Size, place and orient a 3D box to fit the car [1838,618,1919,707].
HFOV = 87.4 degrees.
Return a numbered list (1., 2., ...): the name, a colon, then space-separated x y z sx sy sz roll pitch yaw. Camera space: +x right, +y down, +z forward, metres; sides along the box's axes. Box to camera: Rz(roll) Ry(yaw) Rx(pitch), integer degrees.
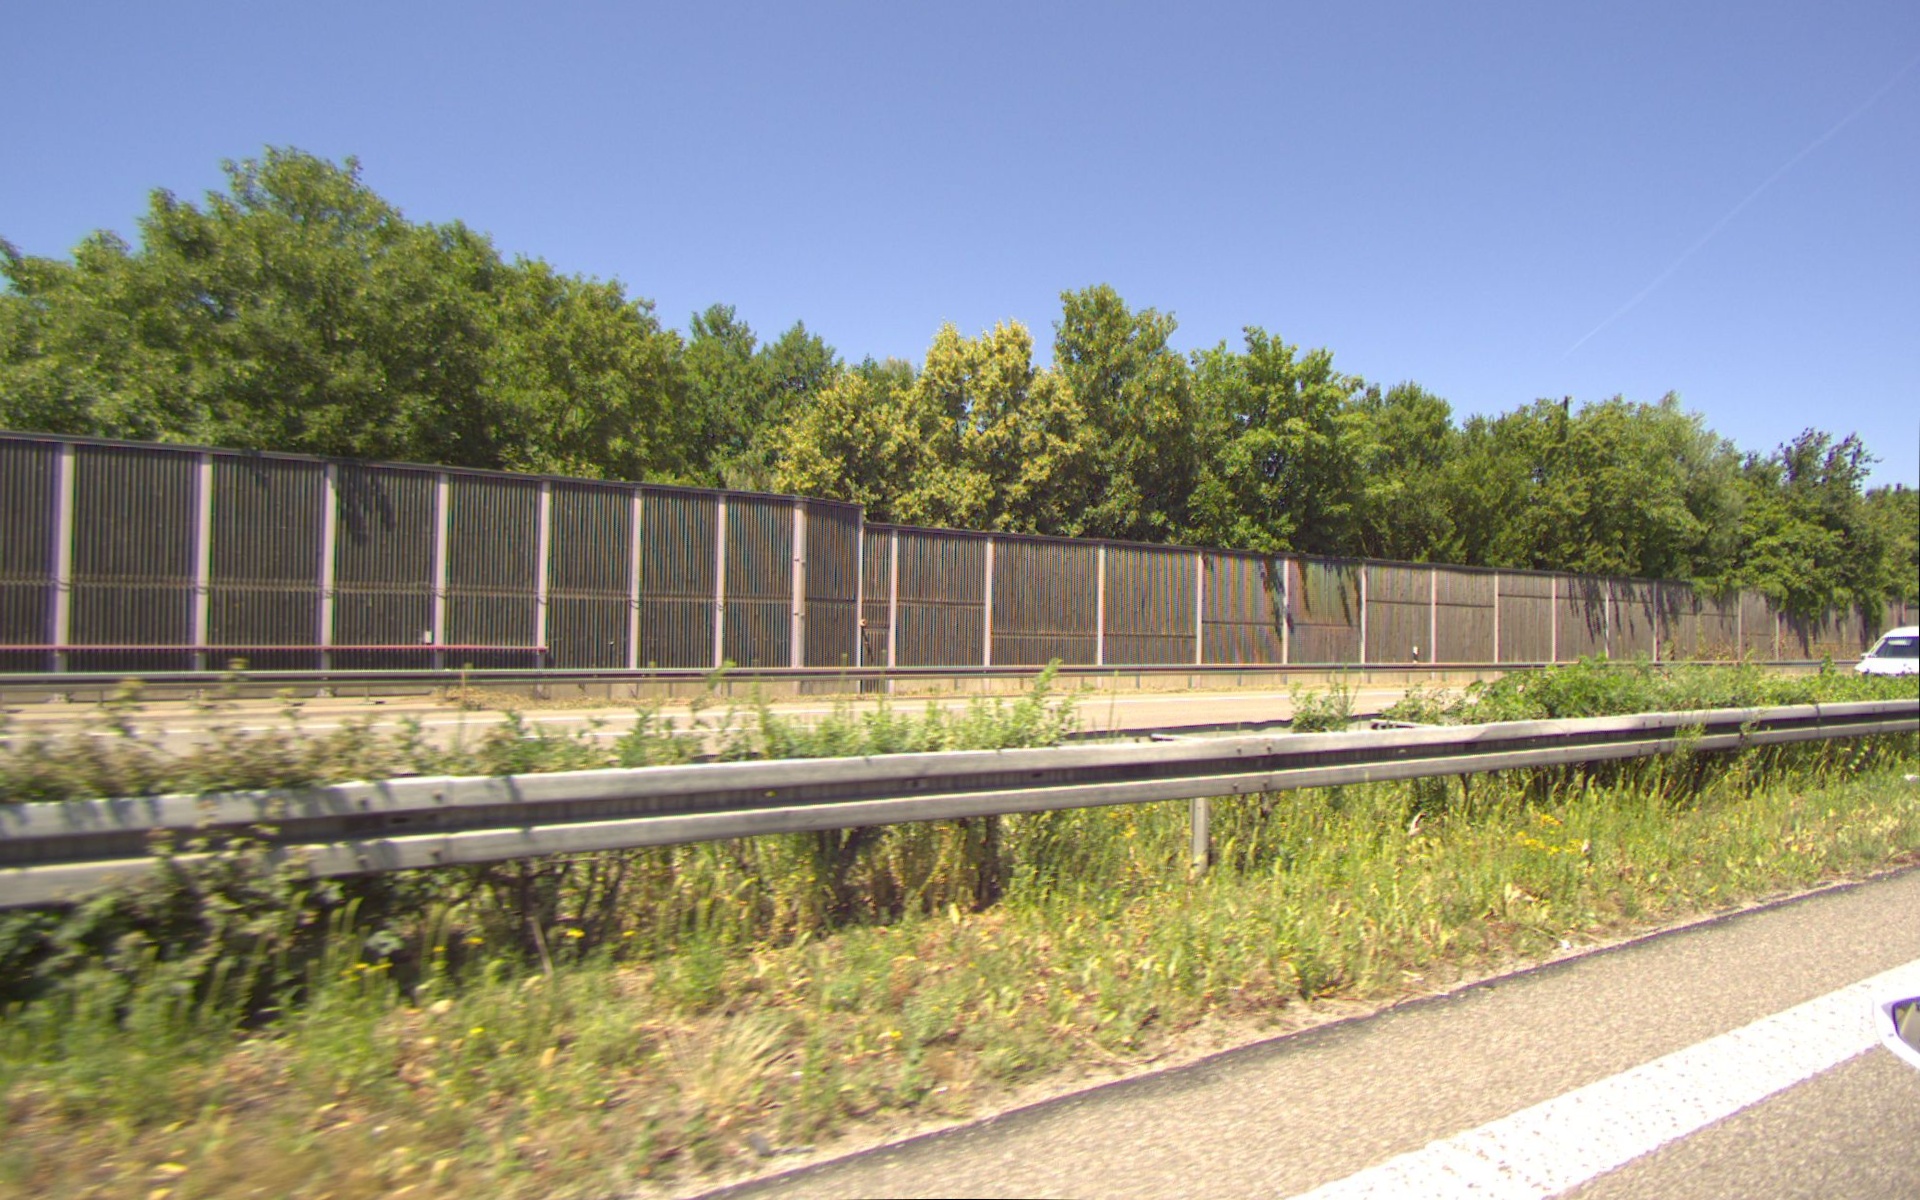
1. car: 21.921 1.381 22.728 4.506 1.865 1.774 2 -2 -30
